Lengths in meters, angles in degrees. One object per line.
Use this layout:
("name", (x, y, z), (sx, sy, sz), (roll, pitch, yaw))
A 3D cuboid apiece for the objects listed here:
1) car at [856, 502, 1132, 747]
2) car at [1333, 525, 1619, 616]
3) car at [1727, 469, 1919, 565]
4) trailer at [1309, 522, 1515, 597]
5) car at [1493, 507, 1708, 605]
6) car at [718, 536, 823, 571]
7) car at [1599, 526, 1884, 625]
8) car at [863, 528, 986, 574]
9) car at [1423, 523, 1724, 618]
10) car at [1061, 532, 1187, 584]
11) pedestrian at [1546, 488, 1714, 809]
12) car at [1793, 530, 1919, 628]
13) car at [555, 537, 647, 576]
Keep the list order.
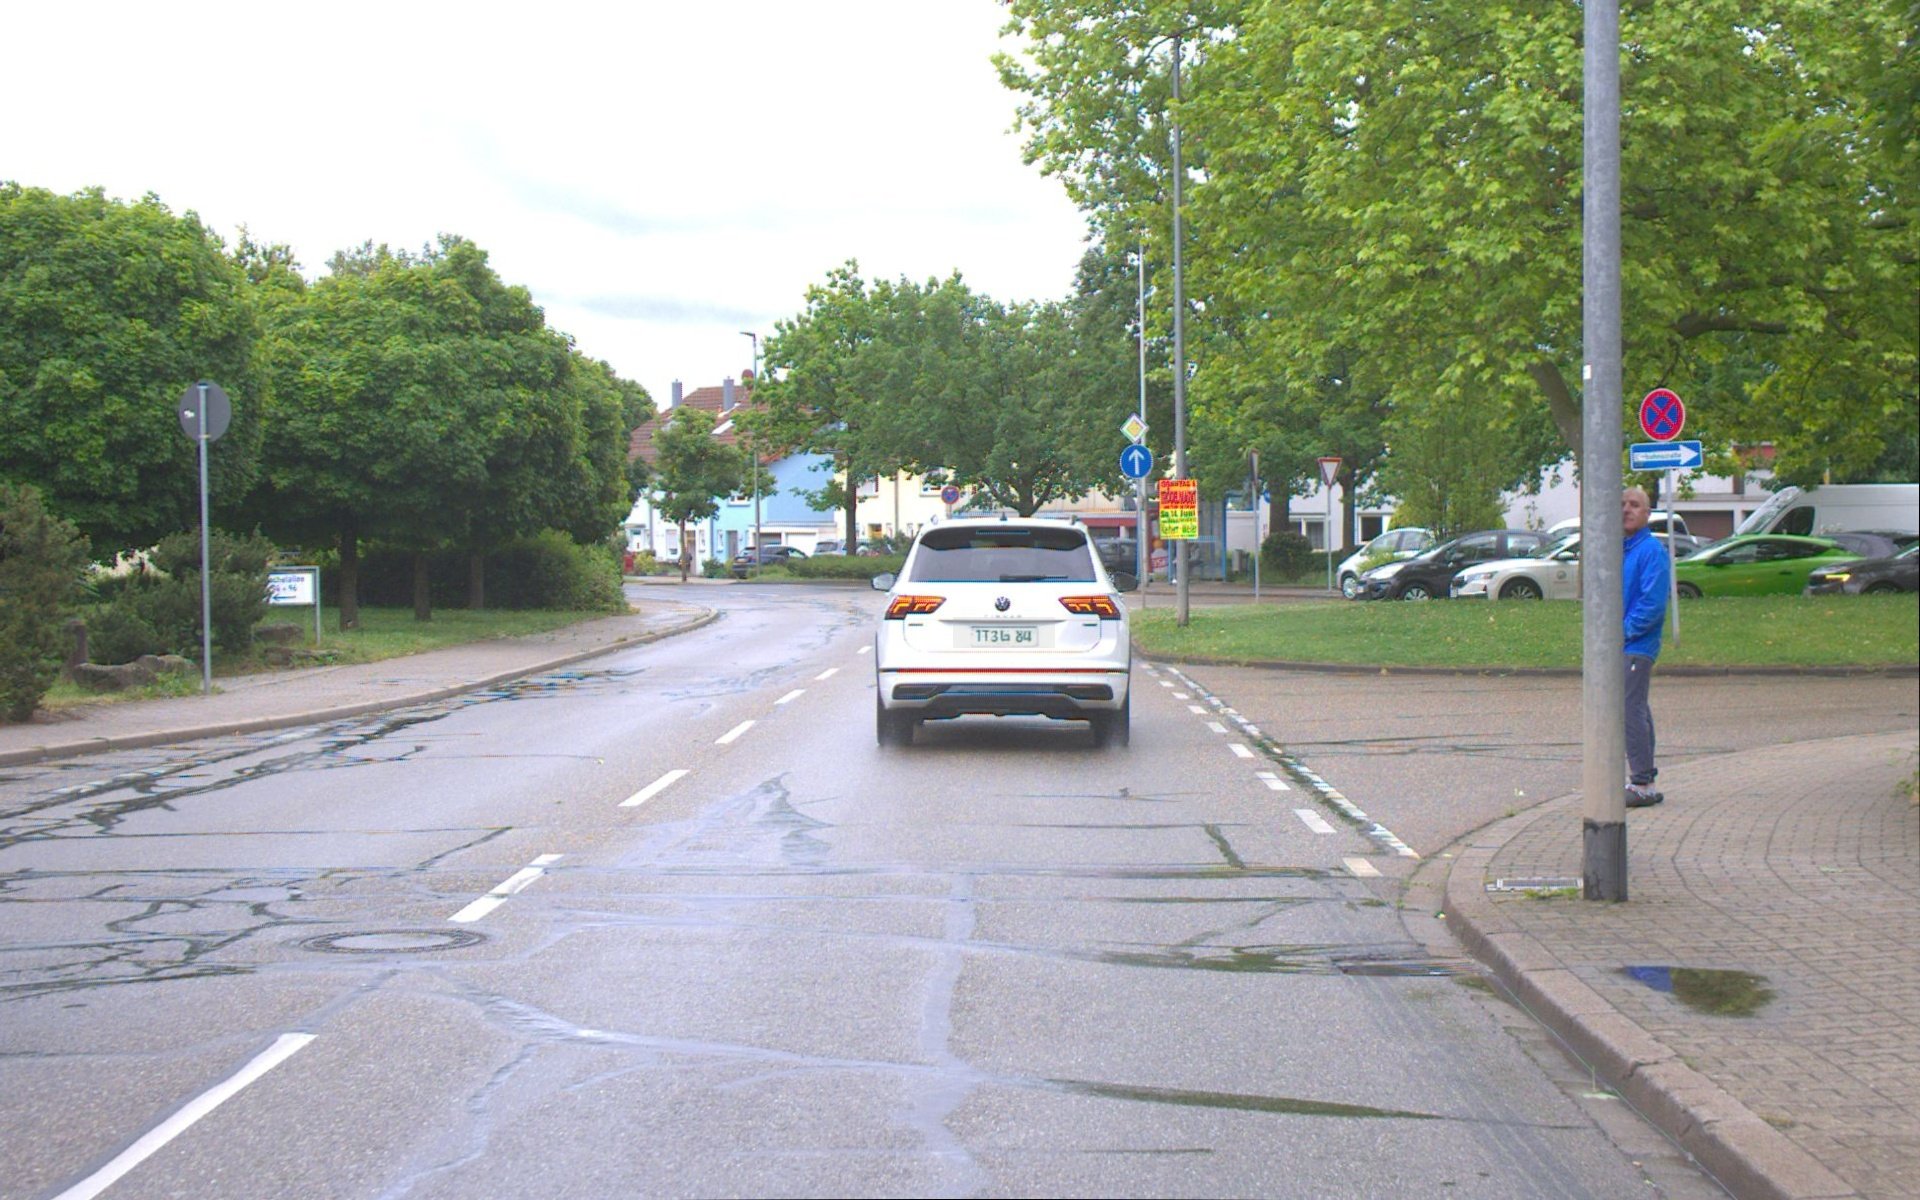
("car", (0.273, 0.127, 25.706), (1.865, 1.645, 4.000), (-1, 1, 1))
("car", (8.891, -0.518, 59.443), (4.572, 1.438, 1.765), (-1, 1, -4))
("car", (20.013, -1.842, 75.498), (5.819, 2.007, 2.001), (-2, 1, -9))
("trailer", (9.708, -0.877, 74.162), (1.994, 1.537, 4.426), (-2, 1, -33))
("car", (12.823, -0.885, 69.054), (1.993, 1.874, 4.213), (-1, 1, -30))
("car", (-7.653, -1.905, 139.139), (3.988, 1.382, 1.674), (-1, 1, -38))
("car", (12.269, -0.400, 54.124), (4.009, 1.438, 1.765), (-1, 1, -4))
("car", (-1.325, -1.844, 129.480), (4.180, 1.666, 1.991), (-1, 1, -33))
("car", (10.116, -0.502, 56.875), (4.572, 1.438, 1.765), (-1, 1, -4))
("car", (5.690, -1.466, 118.999), (3.987, 1.715, 1.924), (-1, 1, -35))
("pedestrian", (3.548, 0.242, 18.239), (0.589, 1.660, 0.776), (0, 1, -15))
("car", (14.559, -0.348, 50.787), (4.009, 1.366, 1.765), (-1, 1, -4))
("car", (-13.542, -1.657, 129.452), (1.993, 1.415, 4.000), (-1, 1, -30))
